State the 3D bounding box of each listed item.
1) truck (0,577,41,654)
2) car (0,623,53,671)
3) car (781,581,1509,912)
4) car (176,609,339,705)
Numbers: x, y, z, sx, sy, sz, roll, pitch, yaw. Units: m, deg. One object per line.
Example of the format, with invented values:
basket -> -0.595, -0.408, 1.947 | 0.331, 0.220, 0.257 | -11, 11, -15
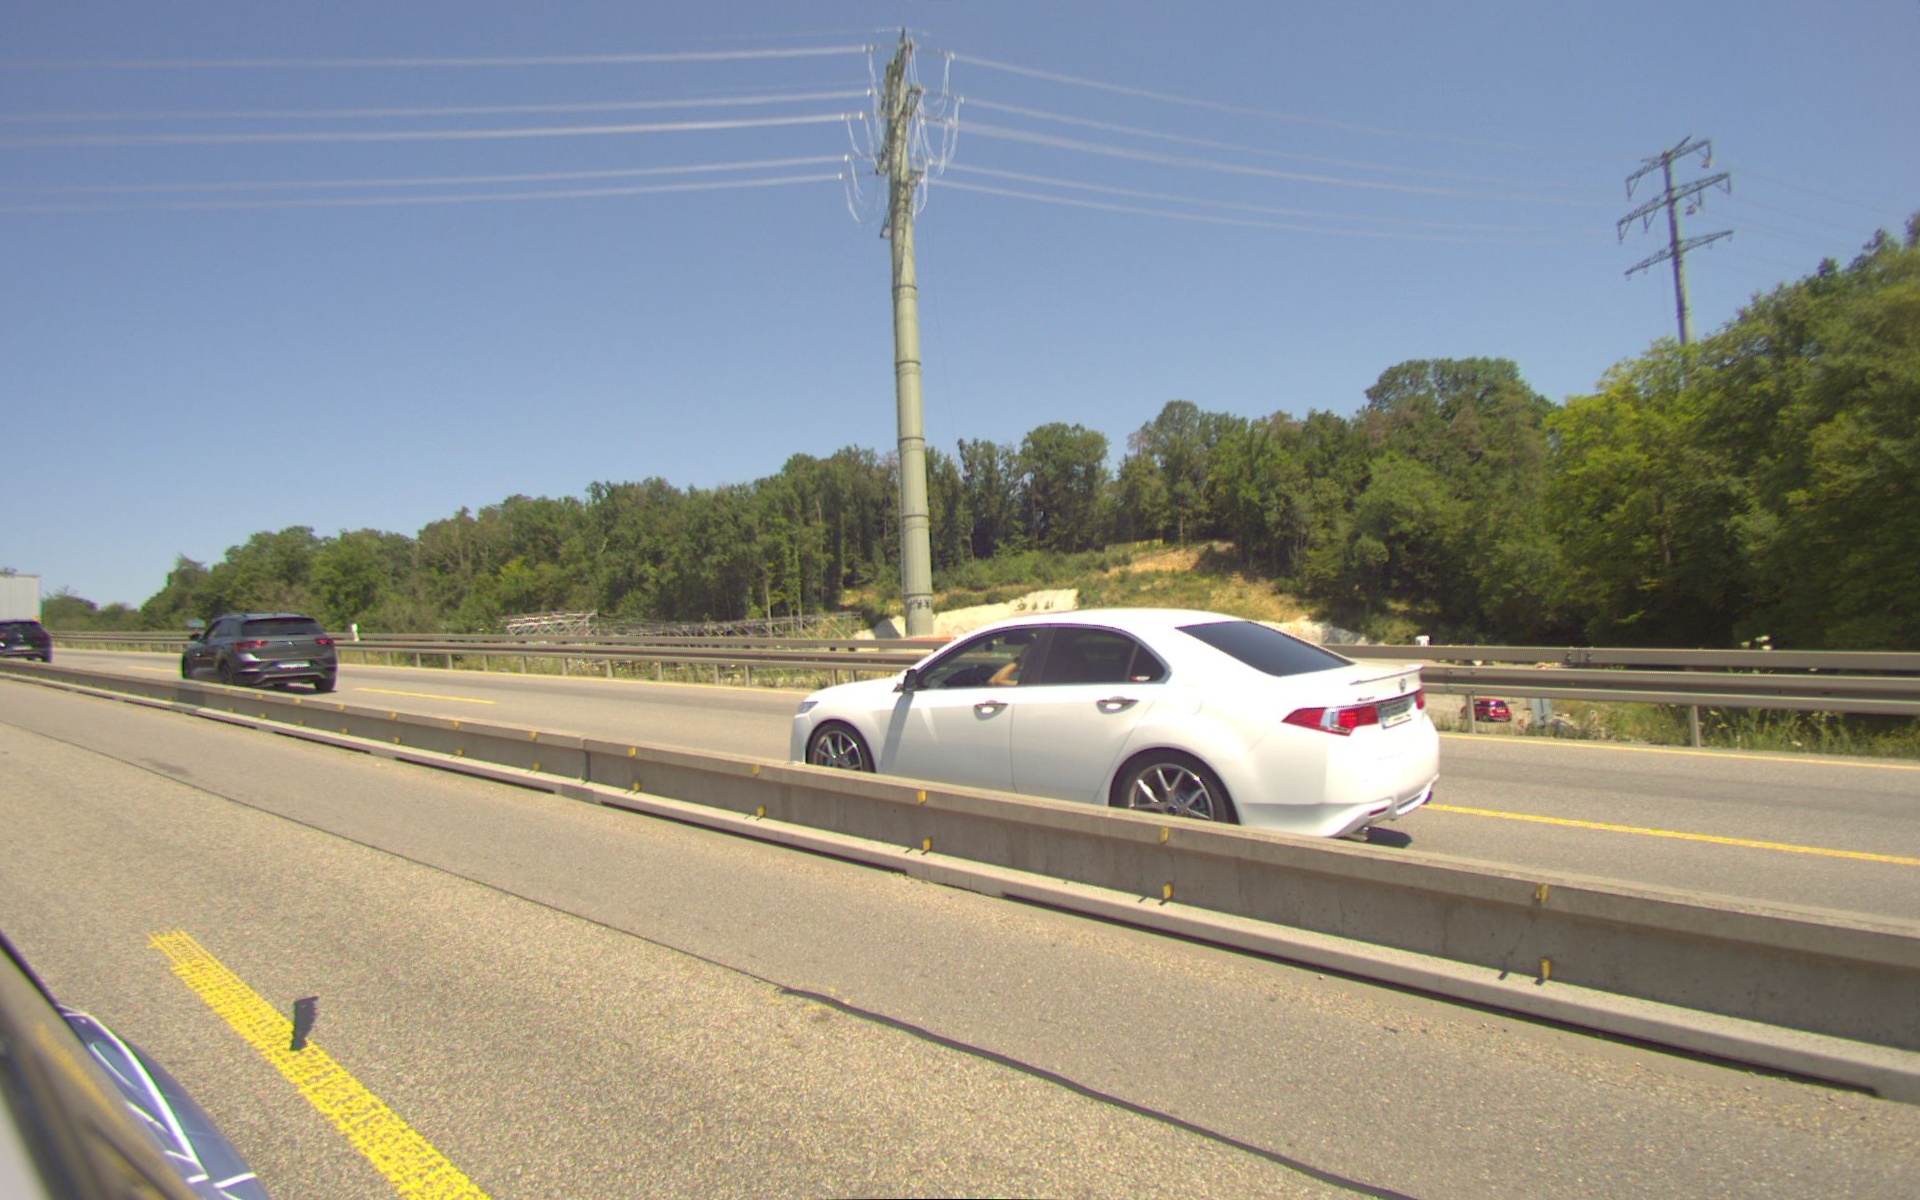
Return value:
truck -> -53.927, 0.747, 55.912 | 10.535, 4.030, 2.775 | 1, 1, 37
car -> -33.265, 1.633, 35.405 | 4.032, 1.563, 1.712 | -2, -1, 39
car -> 0.956, 0.698, 6.797 | 4.476, 1.498, 1.891 | -2, 0, 42
car -> -13.874, 1.055, 19.908 | 3.999, 1.654, 1.720 | -1, 0, 42
